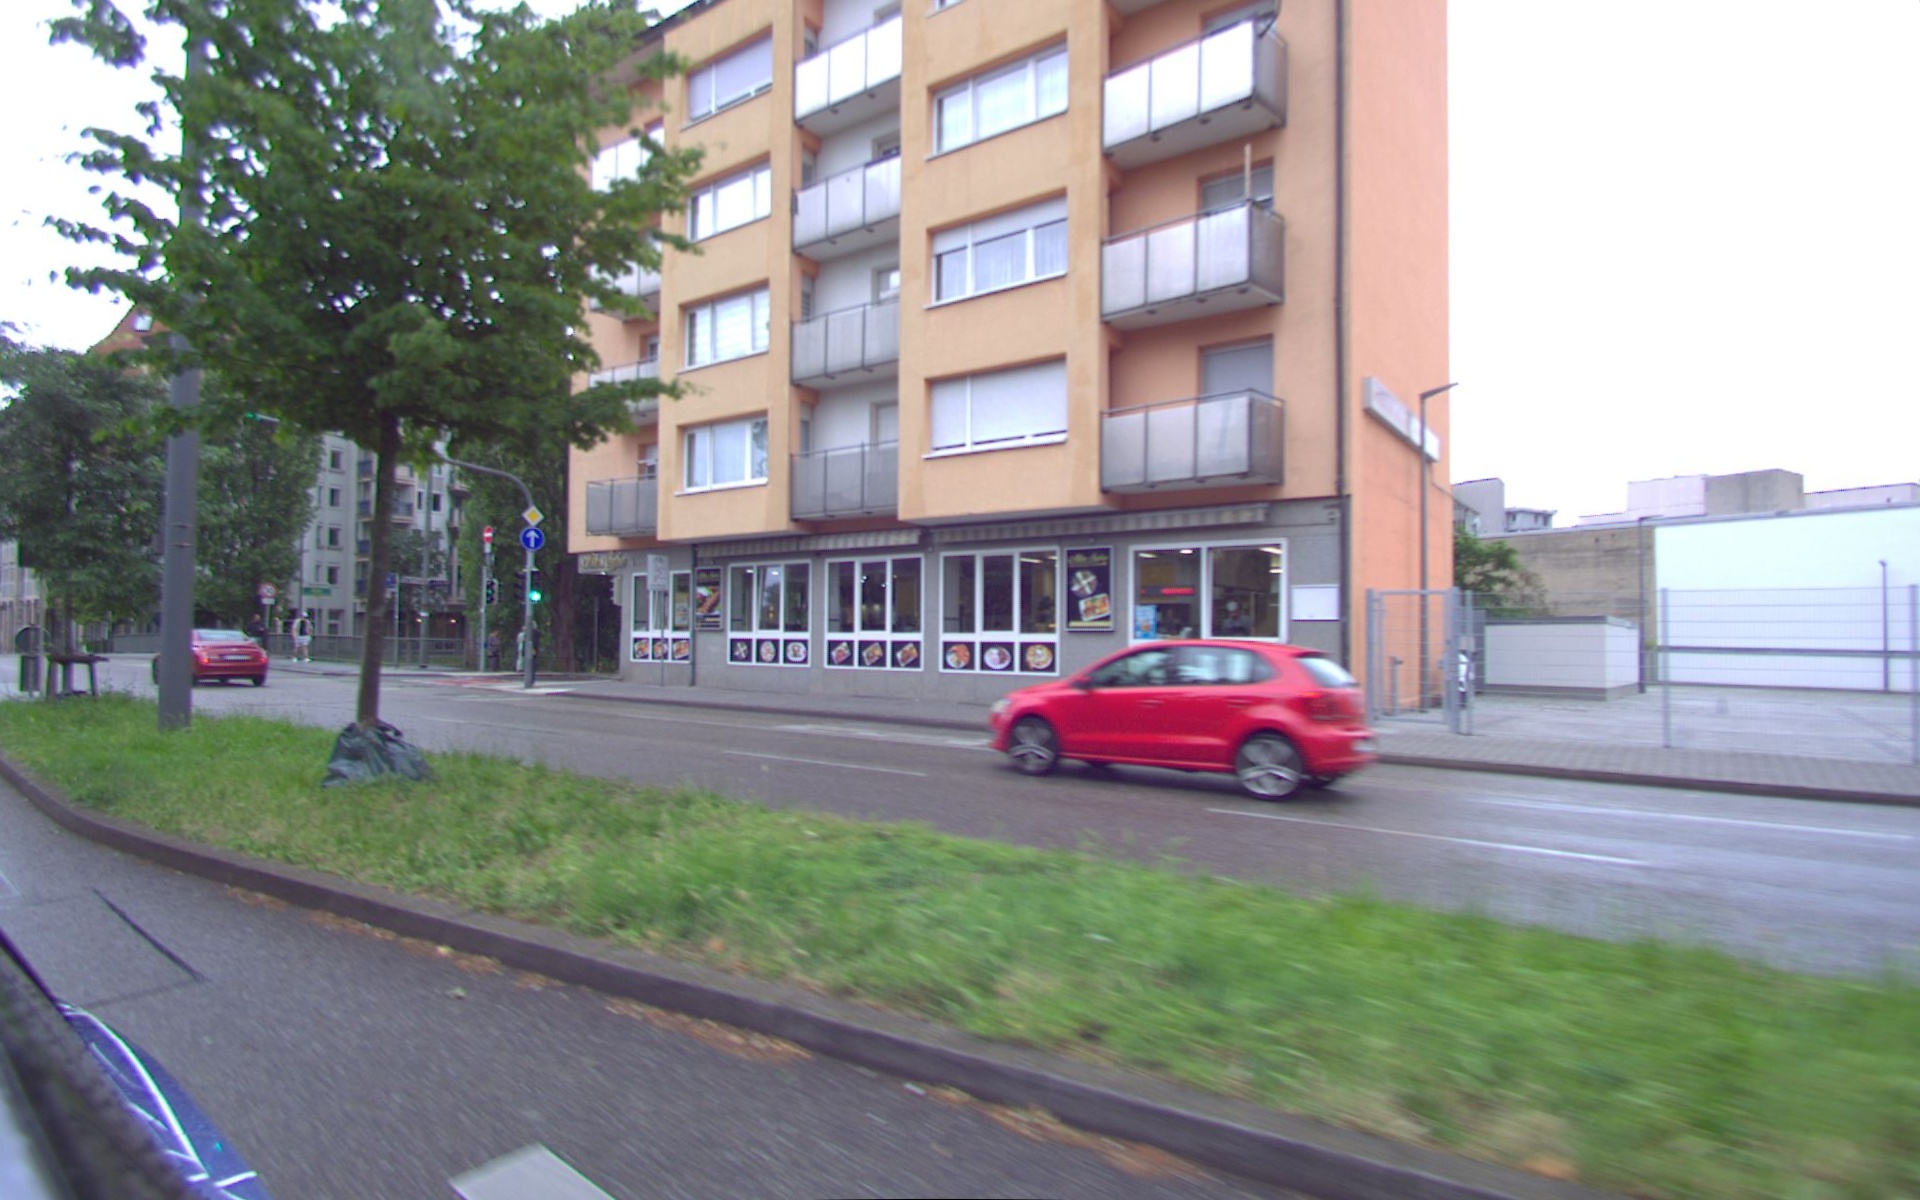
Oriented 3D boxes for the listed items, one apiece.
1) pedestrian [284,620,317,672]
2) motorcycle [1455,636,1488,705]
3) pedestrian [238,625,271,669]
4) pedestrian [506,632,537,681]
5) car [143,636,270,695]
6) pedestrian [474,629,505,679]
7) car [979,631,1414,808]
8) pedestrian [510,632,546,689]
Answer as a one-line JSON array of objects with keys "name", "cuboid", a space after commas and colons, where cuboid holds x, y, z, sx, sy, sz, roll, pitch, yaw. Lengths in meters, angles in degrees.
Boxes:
[{"name": "pedestrian", "cuboid": [-24.464, 1.707, 37.539, 0.798, 1.901, 0.738, -2, -4, 35]}, {"name": "motorcycle", "cuboid": [11.376, 1.581, 22.497, 0.396, 1.473, 1.449, -2, -6, 38]}, {"name": "pedestrian", "cuboid": [-27.714, 1.835, 39.758, 0.798, 1.708, 0.758, -2, -3, 35]}, {"name": "pedestrian", "cuboid": [-15.162, 1.943, 35.013, 0.736, 1.661, 0.683, 0, -3, 1]}, {"name": "car", "cuboid": [-19.456, 1.661, 26.092, 3.827, 1.404, 1.552, -2, -5, 37]}, {"name": "pedestrian", "cuboid": [-16.191, 1.858, 34.838, 0.675, 1.704, 0.745, 0, -3, 6]}, {"name": "car", "cuboid": [2.267, 1.083, 10.135, 3.937, 1.441, 1.589, -1, -5, 36]}, {"name": "pedestrian", "cuboid": [-11.425, 1.599, 26.776, 0.604, 1.452, 0.557, -2, 0, 18]}]
